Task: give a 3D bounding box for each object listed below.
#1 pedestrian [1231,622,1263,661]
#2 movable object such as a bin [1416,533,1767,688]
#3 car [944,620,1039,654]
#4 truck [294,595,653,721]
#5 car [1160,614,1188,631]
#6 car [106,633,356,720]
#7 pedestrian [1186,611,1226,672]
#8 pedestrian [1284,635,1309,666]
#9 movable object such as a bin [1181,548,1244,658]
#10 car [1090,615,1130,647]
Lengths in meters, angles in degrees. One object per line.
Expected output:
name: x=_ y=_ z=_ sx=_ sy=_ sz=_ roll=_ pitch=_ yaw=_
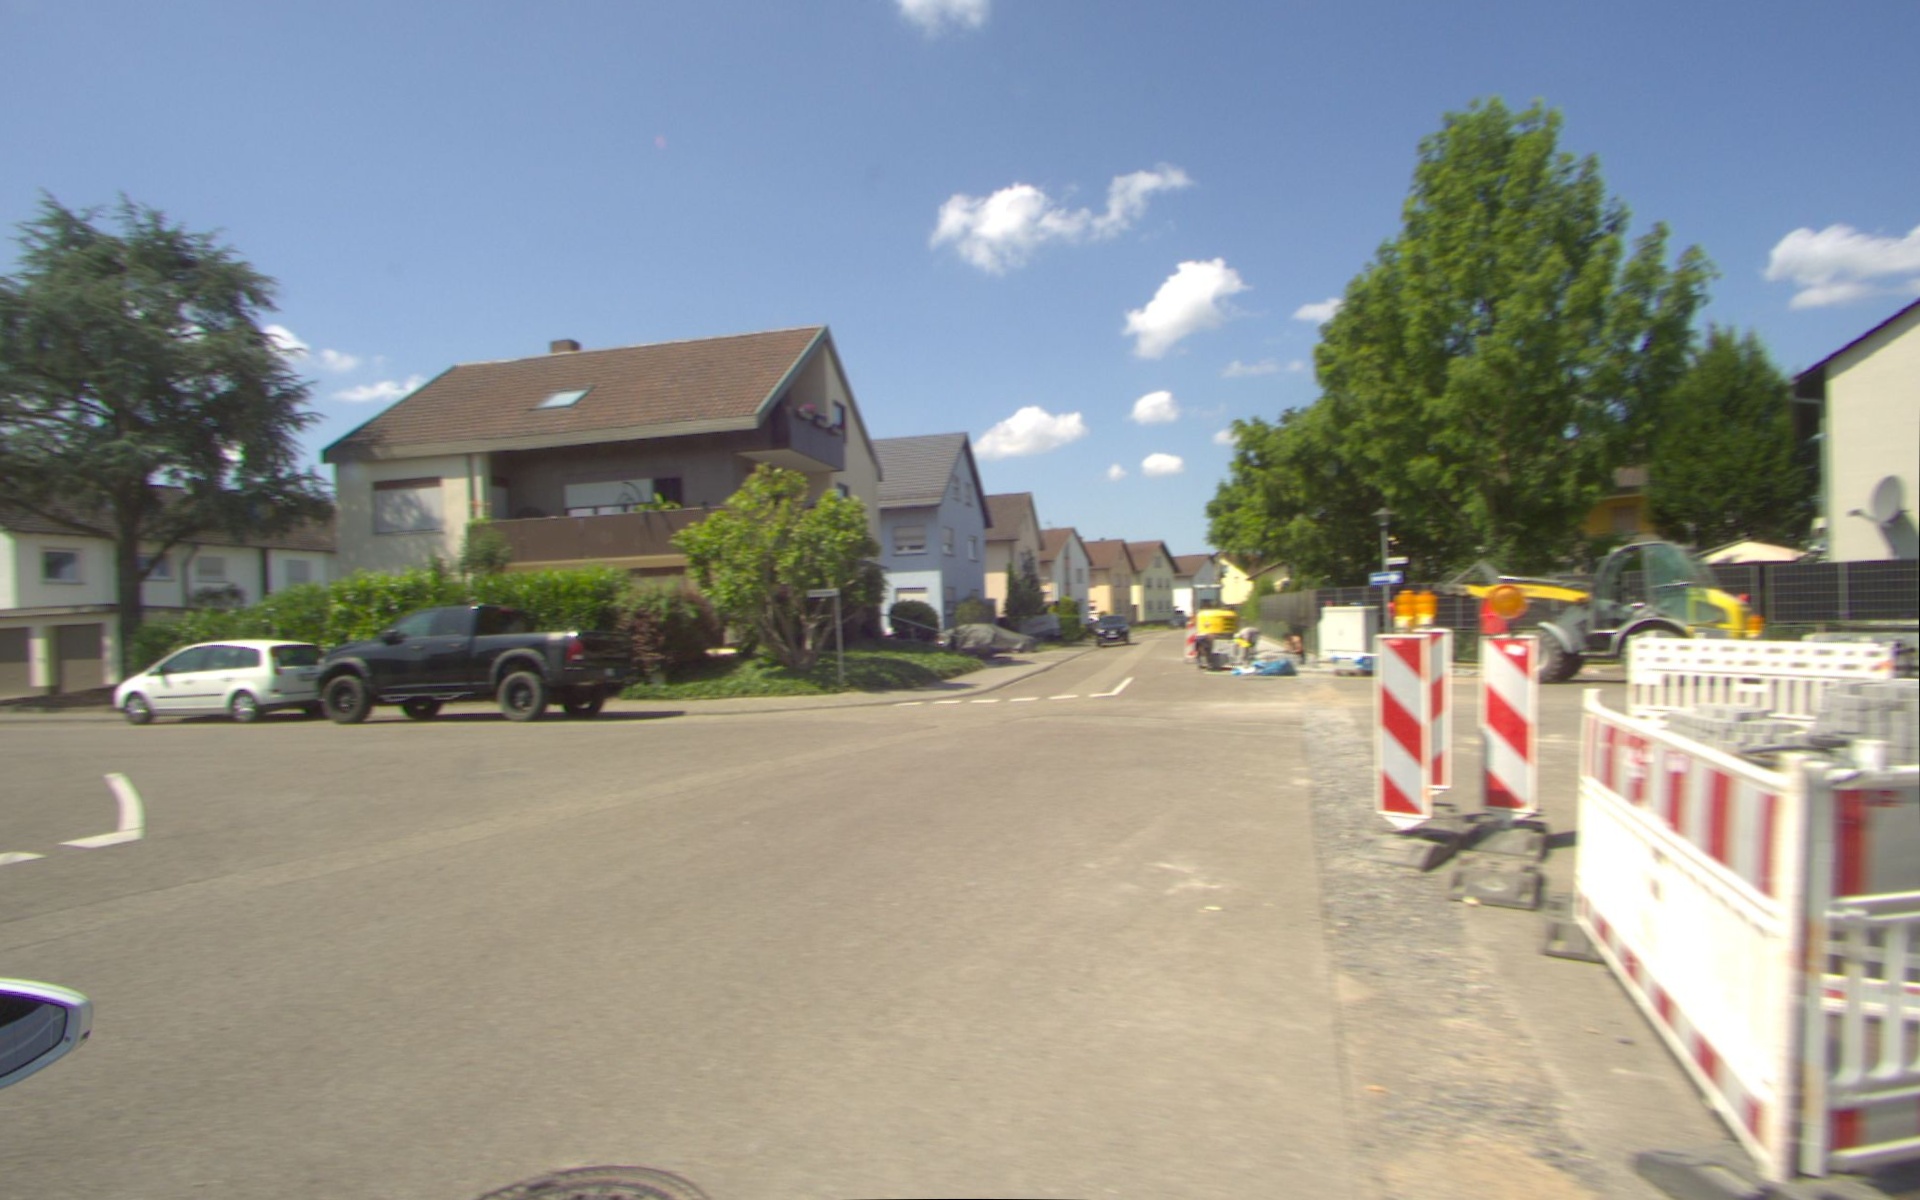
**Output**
pedestrian: x=9.125 y=1.322 z=31.812 sx=0.813 sy=1.184 sz=0.509 roll=-2 pitch=0 yaw=-28
movable object such as a bin: x=11.538 y=0.298 z=18.621 sx=5.181 sy=2.483 sz=1.982 roll=-3 pitch=-3 yaw=45
car: x=1.429 y=1.627 z=44.632 sx=3.925 sy=1.359 sz=1.999 roll=-2 pitch=-1 yaw=12
truck: x=-8.806 y=1.107 z=18.370 sx=5.605 sy=2.038 sz=2.373 roll=-2 pitch=-4 yaw=10
car: x=22.547 y=2.410 z=105.458 sx=1.937 sy=1.672 sz=3.985 roll=-2 pitch=-1 yaw=27
car: x=-14.726 y=1.534 z=20.310 sx=4.065 sy=1.583 sz=1.802 roll=-2 pitch=-1 yaw=11
pedestrian: x=6.442 y=1.085 z=26.239 sx=0.838 sy=1.533 sz=0.530 roll=-2 pitch=0 yaw=-29
pedestrian: x=9.297 y=1.395 z=27.661 sx=0.512 sy=0.803 sz=0.432 roll=-2 pitch=0 yaw=3
movable object such as a bin: x=8.914 y=0.138 z=35.511 sx=1.963 sy=3.612 sz=3.812 roll=-2 pitch=-1 yaw=14
car: x=7.975 y=1.634 z=53.010 sx=1.884 sy=1.562 sz=3.998 roll=-2 pitch=-1 yaw=12
